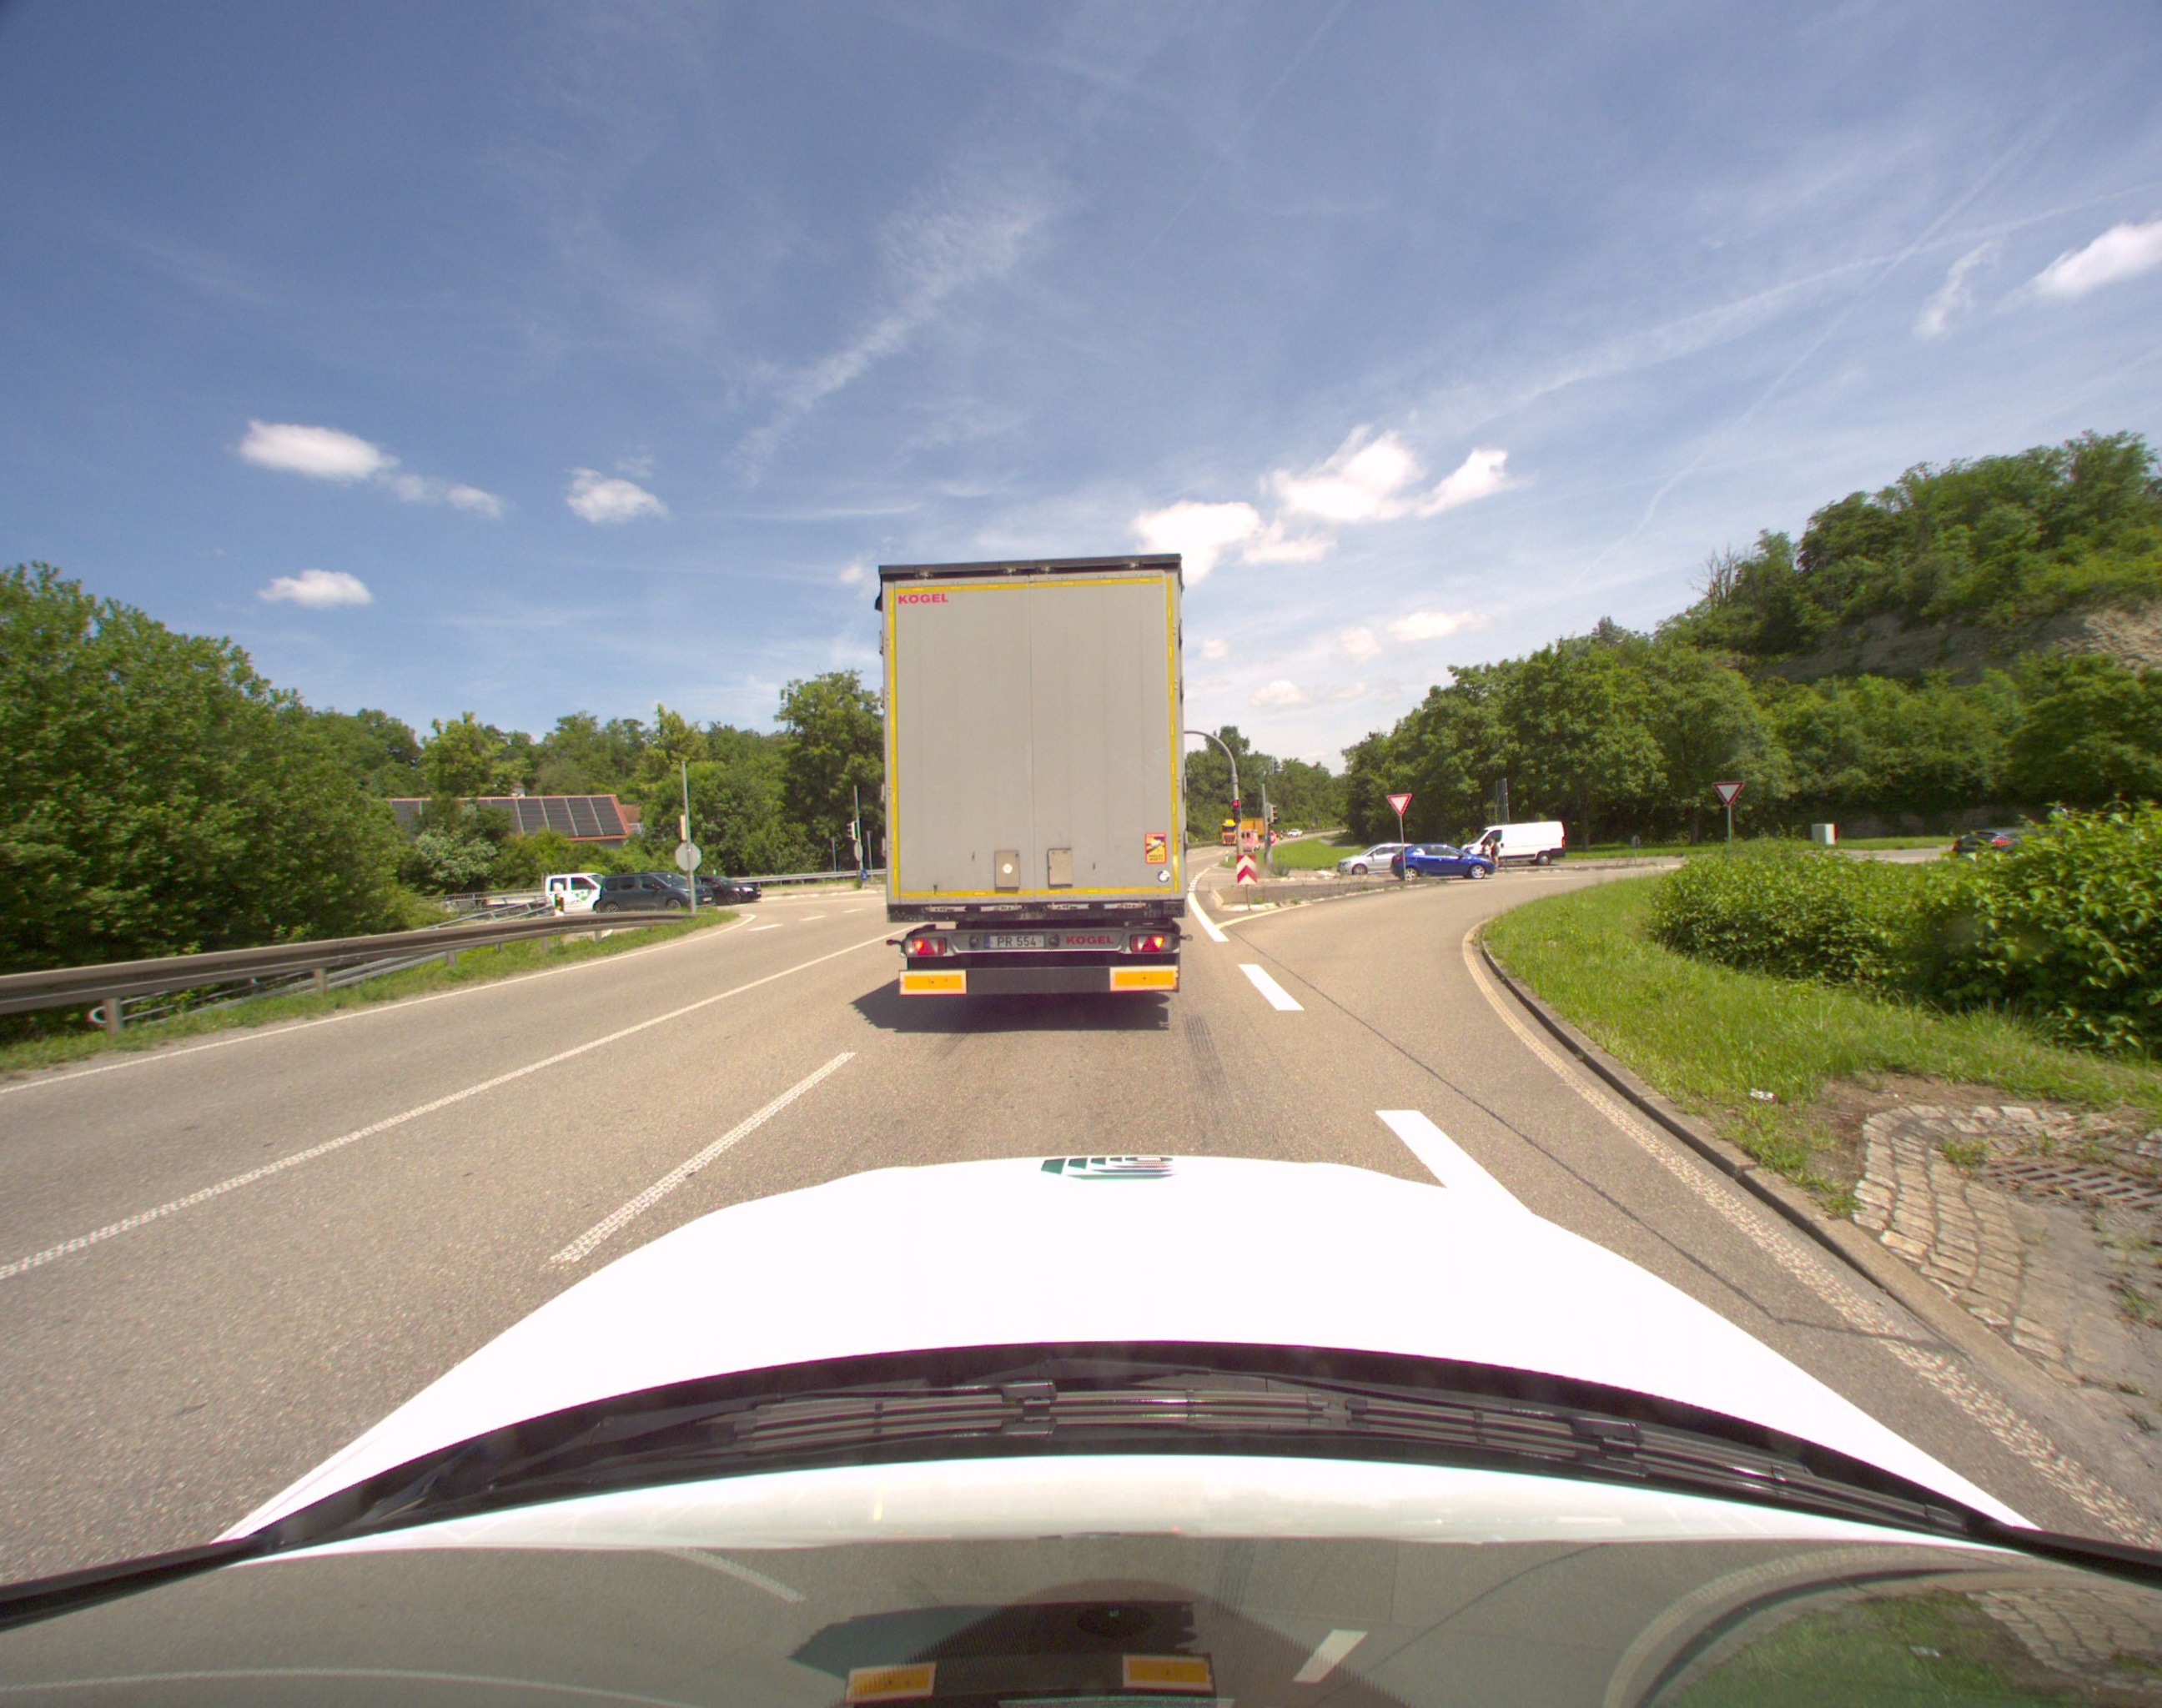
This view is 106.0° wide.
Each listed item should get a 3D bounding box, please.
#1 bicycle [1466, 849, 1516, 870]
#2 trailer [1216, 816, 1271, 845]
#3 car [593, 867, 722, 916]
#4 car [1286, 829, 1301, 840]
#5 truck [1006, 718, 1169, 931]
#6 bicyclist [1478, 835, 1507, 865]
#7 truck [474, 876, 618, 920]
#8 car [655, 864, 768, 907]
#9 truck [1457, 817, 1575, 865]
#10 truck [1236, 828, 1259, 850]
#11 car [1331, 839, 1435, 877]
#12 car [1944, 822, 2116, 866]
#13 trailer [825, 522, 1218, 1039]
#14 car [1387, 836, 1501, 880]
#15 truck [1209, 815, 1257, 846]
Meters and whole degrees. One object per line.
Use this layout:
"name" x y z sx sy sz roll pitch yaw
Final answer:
"bicycle" 19.813 0.277 39.361 1.983 0.995 0.797 -1 -2 -1
"trailer" 27.416 -3.873 136.113 4.967 4.362 20.952 -2 1 22
"car" -17.035 1.487 32.859 4.206 1.770 2.006 -2 -1 11
"car" 40.862 -3.767 156.411 1.975 2.013 4.025 -2 2 28
"truck" 0.339 -0.563 19.034 3.025 4.034 6.636 -2 0 4
"bicyclist" 19.884 -0.186 39.368 1.002 1.448 0.795 -1 -2 -1
"truck" -23.570 1.921 36.100 4.877 1.791 2.036 0 -2 -11
"car" -16.736 1.427 36.989 4.206 1.770 2.006 -2 -1 11
"truck" 22.631 -0.635 42.576 5.105 2.296 2.009 -1 -2 17
"truck" 21.405 -1.862 104.499 2.475 2.727 6.054 -1 0 15
"car" 14.715 0.215 39.929 4.405 1.718 2.003 -1 -2 6
"car" 35.707 -0.358 30.743 4.232 1.491 1.998 -1 -2 -2
"trailer" -0.078 -0.572 12.784 3.038 4.034 12.571 -2 0 4
"car" 14.290 0.195 32.294 3.818 1.613 1.888 -1 -2 14
"truck" 23.912 -3.658 127.523 4.967 4.362 11.830 -2 1 22
